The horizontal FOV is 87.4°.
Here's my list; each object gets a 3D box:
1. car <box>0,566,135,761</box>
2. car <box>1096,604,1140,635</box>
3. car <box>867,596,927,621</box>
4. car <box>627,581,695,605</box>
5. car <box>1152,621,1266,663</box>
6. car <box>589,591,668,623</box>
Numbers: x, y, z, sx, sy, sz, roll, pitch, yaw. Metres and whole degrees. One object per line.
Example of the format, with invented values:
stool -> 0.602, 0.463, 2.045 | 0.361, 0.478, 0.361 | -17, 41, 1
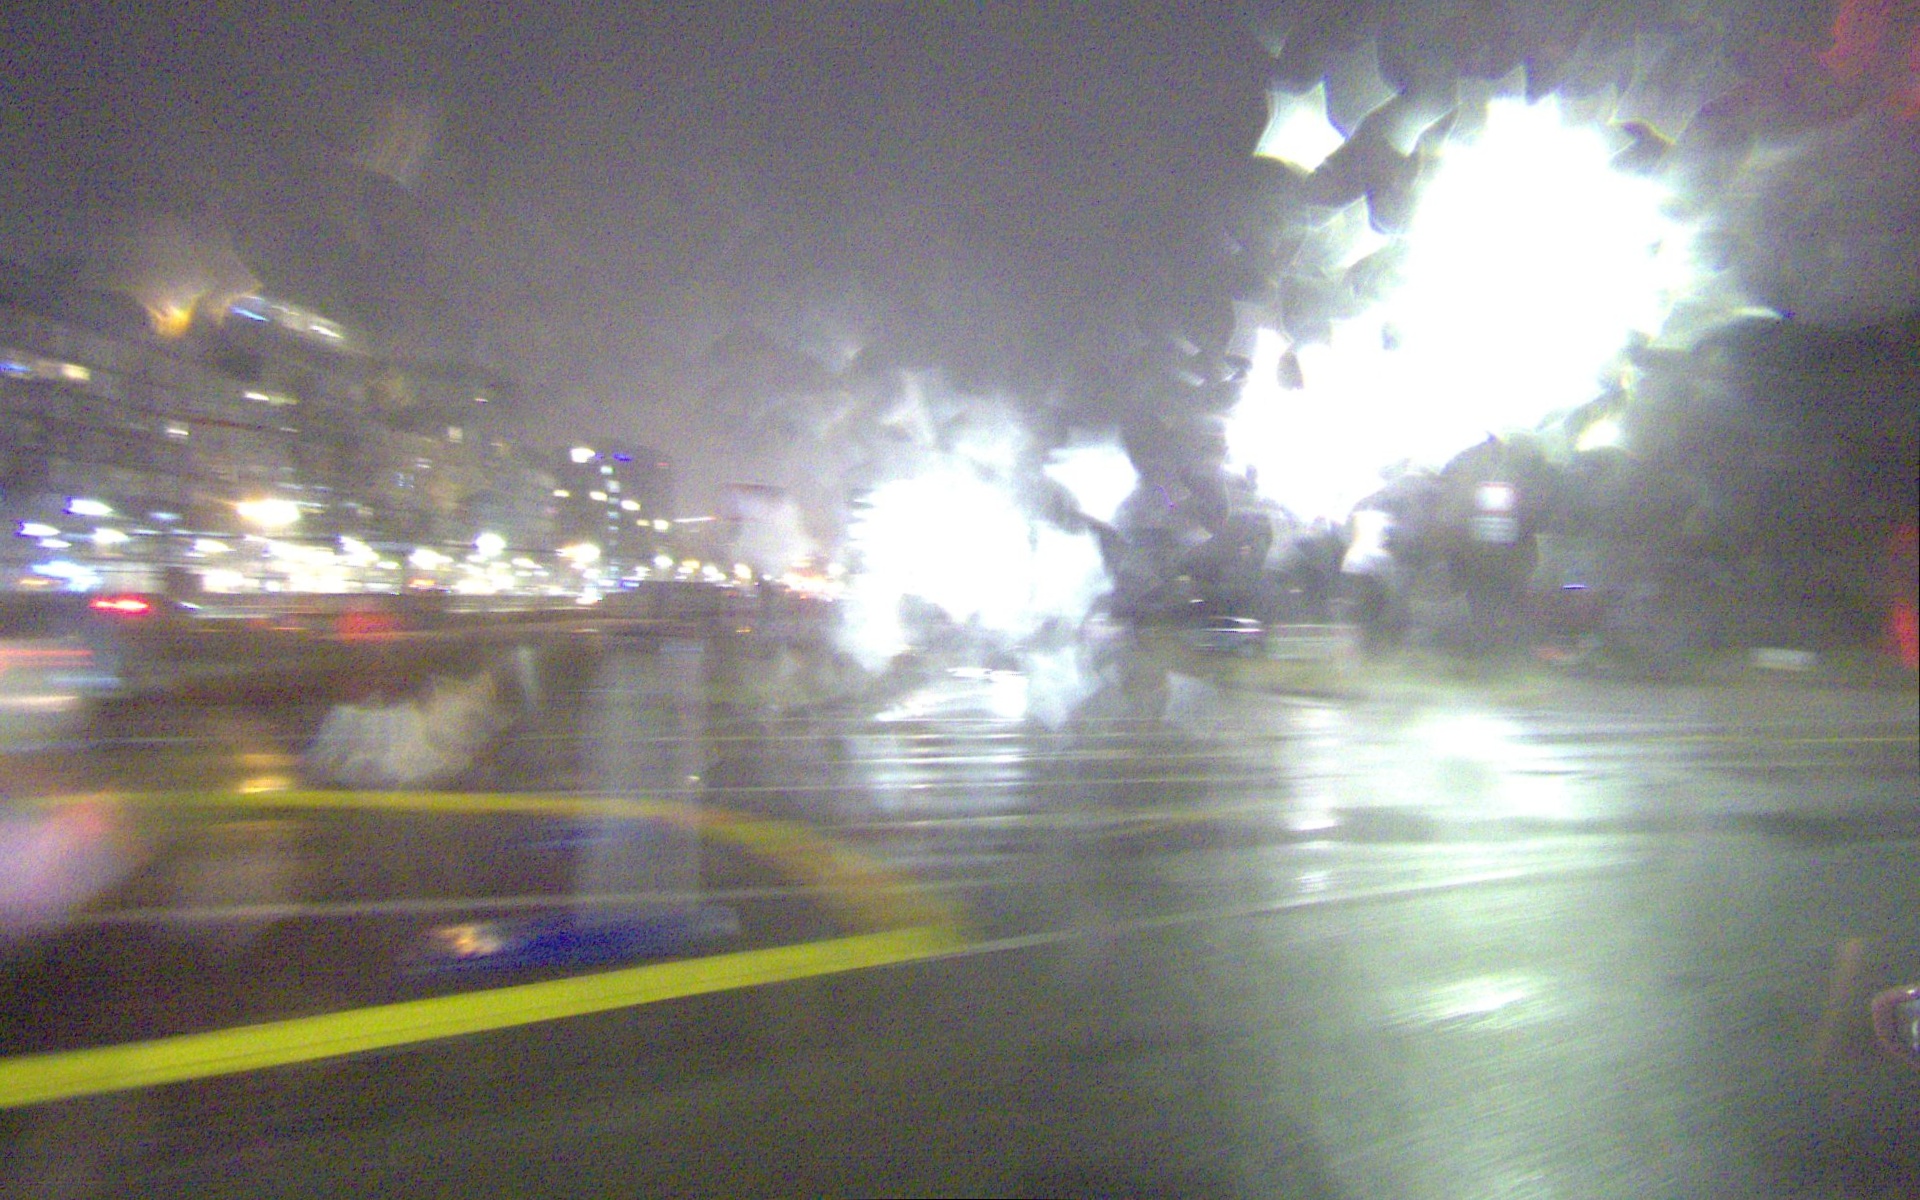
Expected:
car -> -9.492, 0.481, 7.808 | 4.228, 1.474, 1.996 | 1, -4, -12
car -> 10.030, 1.229, 63.917 | 1.962, 1.862, 3.802 | 1, -1, -4
car -> -4.626, 0.635, 74.012 | 4.346, 1.643, 1.999 | 2, 0, -3
car -> -21.405, -0.525, 72.074 | 4.311, 1.643, 1.999 | 1, 1, -4
car -> 8.817, 1.469, 35.783 | 3.743, 1.353, 1.537 | 1, 0, 5
car -> -21.670, 0.466, 65.711 | 4.227, 1.758, 2.335 | 4, -2, 3
